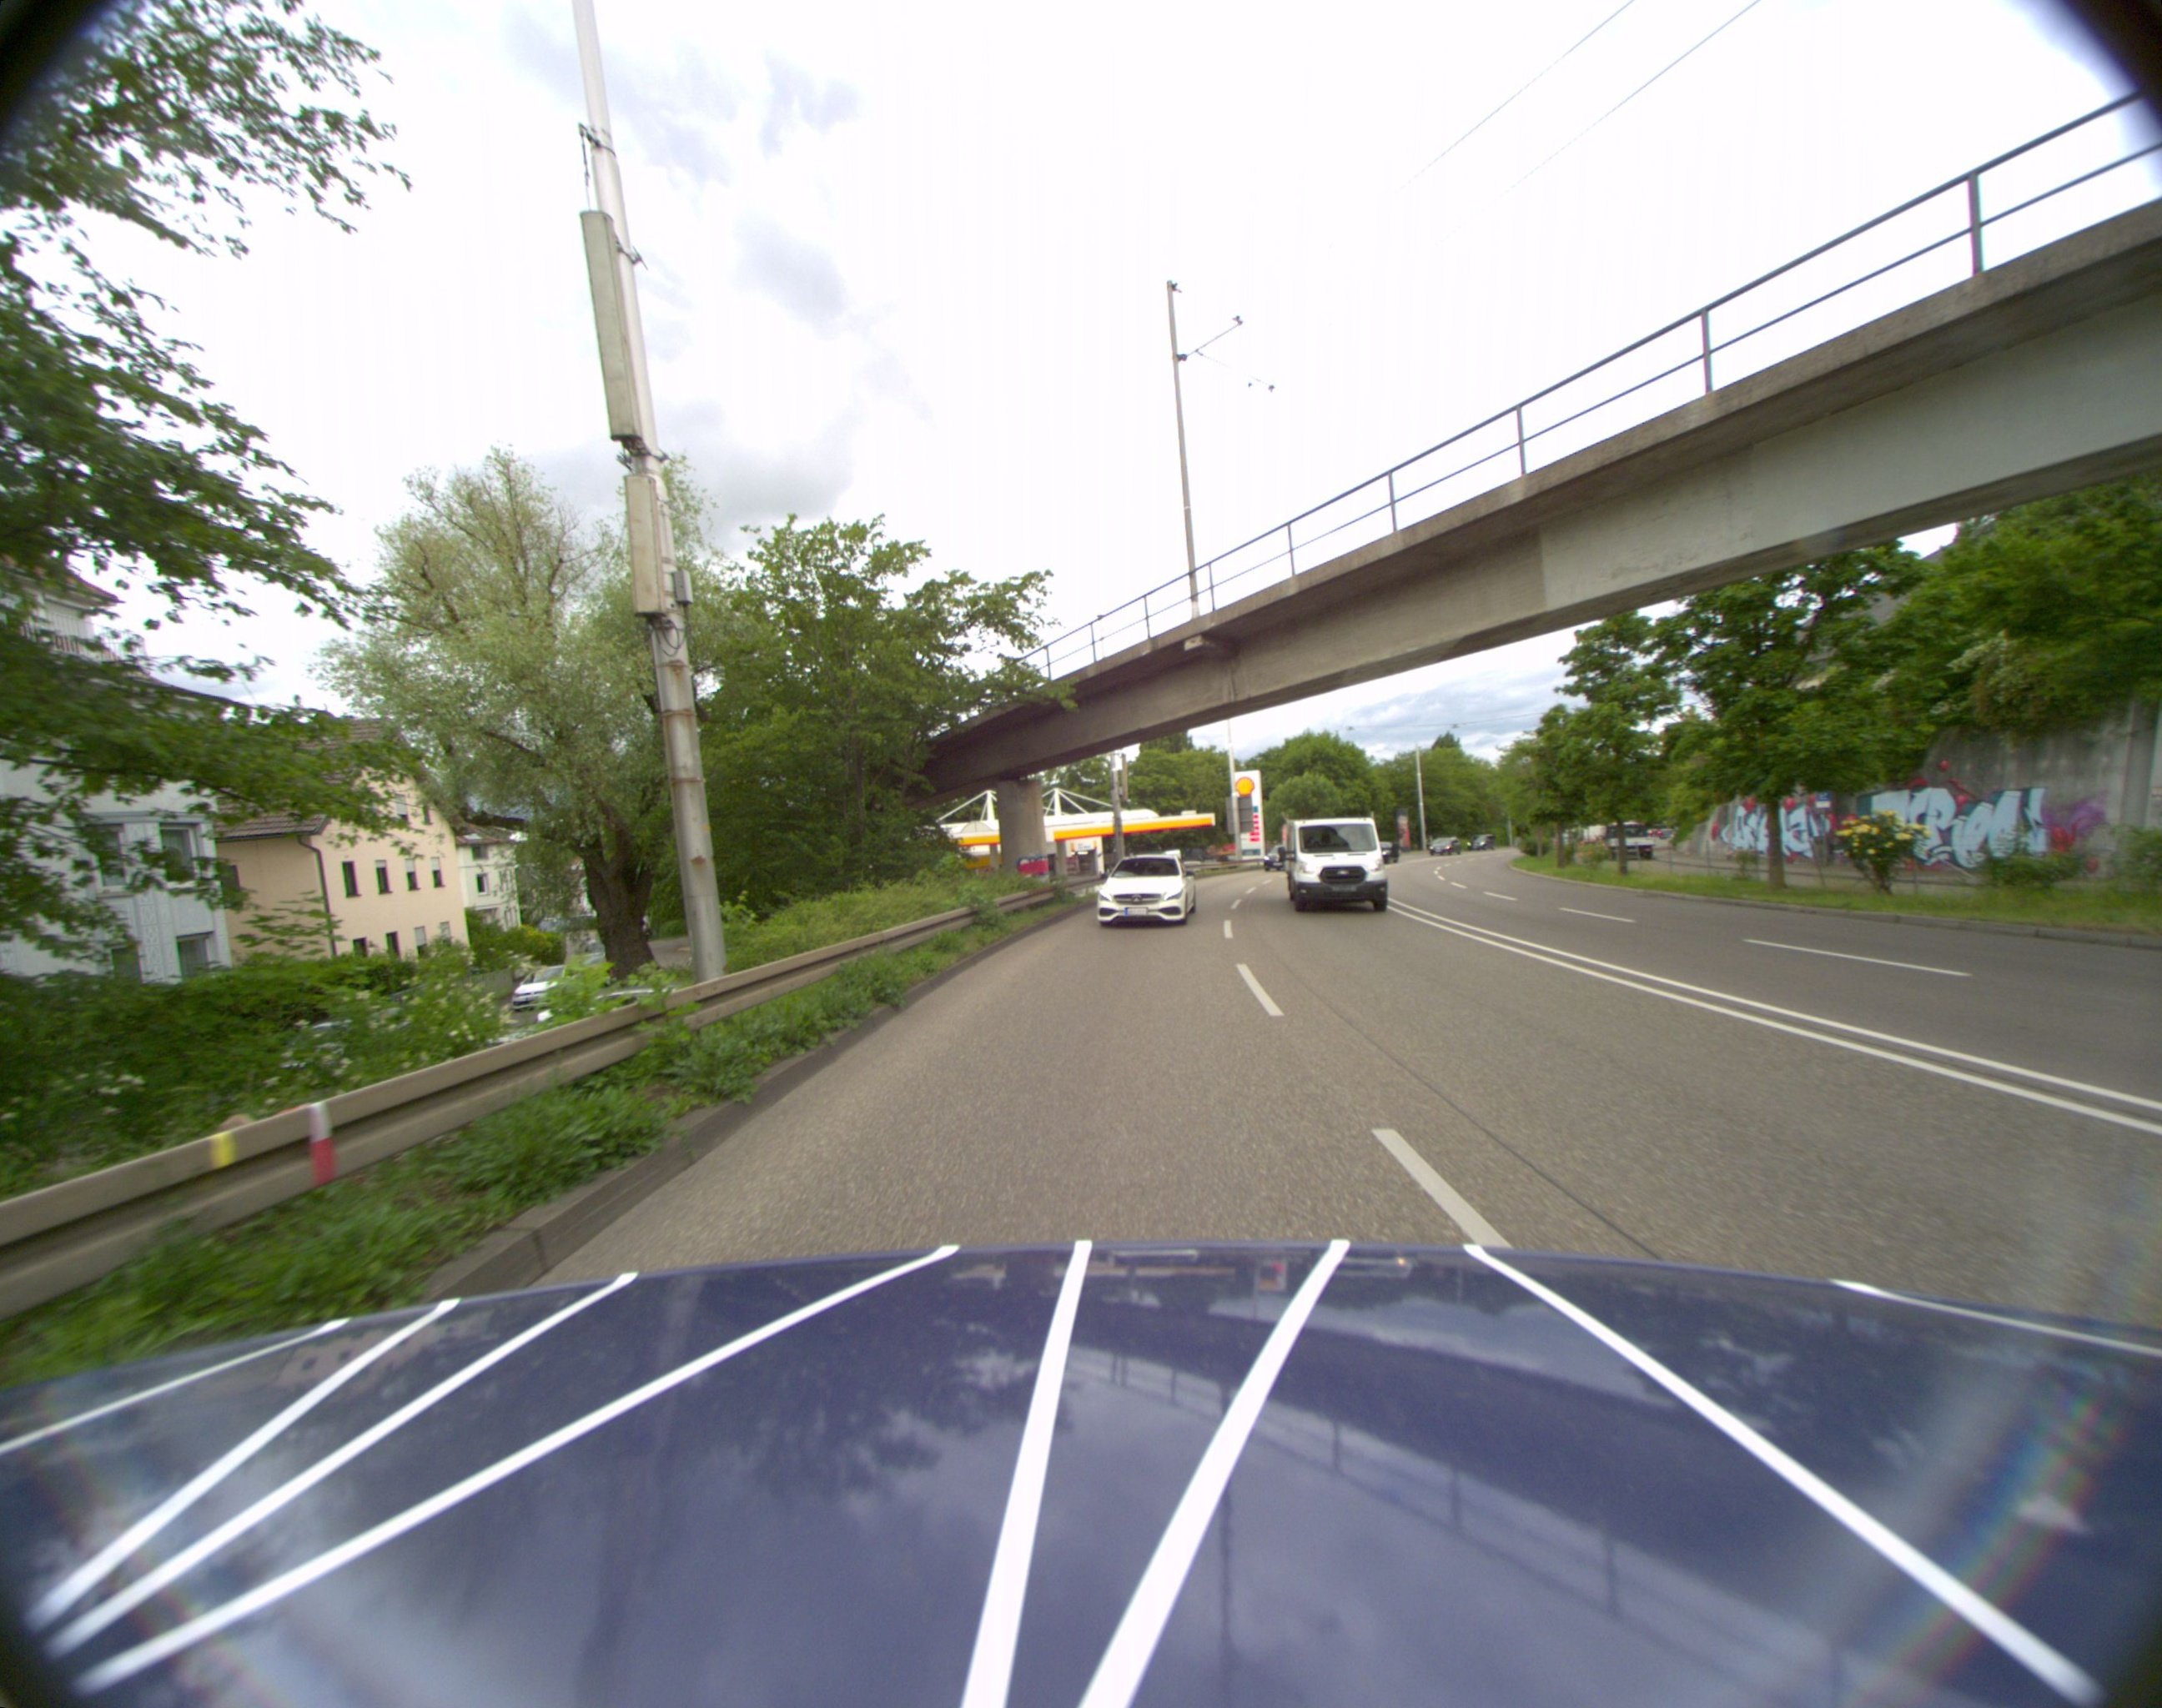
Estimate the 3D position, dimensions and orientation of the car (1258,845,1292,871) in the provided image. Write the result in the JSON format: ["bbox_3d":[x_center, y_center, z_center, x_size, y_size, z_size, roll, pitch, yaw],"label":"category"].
[{"bbox_3d":[11.311,0.218,44.392,1.732,1.403,4.003,-3,0,12],"label":"car"}]

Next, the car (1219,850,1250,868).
[{"bbox_3d":[15.391,0.491,76.279,1.734,1.419,4.288,-6,4,-7],"label":"car"}]

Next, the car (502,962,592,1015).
[{"bbox_3d":[-21.147,5.285,30.244,1.651,1.386,3.766,-6,0,-16],"label":"car"}]

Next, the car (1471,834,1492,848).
[{"bbox_3d":[46.982,-1.541,89.129,1.726,1.469,4.007,-3,0,34],"label":"car"}]

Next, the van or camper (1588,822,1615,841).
[{"bbox_3d":[63.093,-2.705,92.057,2.009,2.248,5.973,-1,1,42],"label":"van or camper"}]

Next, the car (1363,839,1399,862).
[{"bbox_3d":[20.563,-0.237,51.970,1.733,1.403,4.007,-3,0,29],"label":"car"}]

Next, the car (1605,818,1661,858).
[{"bbox_3d":[34.193,-1.005,47.248,2.269,2.260,6.338,-1,1,31],"label":"car"}]

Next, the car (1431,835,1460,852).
[{"bbox_3d":[33.922,-0.977,70.591,1.726,1.469,4.007,-3,0,35],"label":"car"}]

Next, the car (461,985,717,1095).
[{"bbox_3d":[-9.897,3.742,15.486,4.054,1.439,1.624,-6,0,2],"label":"car"}]

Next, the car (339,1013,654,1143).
[{"bbox_3d":[-9.865,3.775,13.021,4.054,1.361,1.624,-6,0,2],"label":"car"}]

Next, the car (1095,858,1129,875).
[{"bbox_3d":[3.045,1.207,74.779,1.725,1.428,4.096,-4,4,-23],"label":"car"}]

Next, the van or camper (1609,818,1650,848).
[{"bbox_3d":[47.498,-1.876,65.743,1.994,2.459,5.721,0,2,44],"label":"van or camper"}]

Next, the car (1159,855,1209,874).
[{"bbox_3d":[9.609,0.982,71.187,4.294,1.424,1.599,-4,4,-13],"label":"car"}]

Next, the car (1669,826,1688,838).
[{"bbox_3d":[76.378,-2.826,97.120,1.673,1.420,4.426,2,3,41],"label":"car"}]

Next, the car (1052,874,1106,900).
[{"bbox_3d":[-0.122,2.475,57.820,1.736,1.478,3.883,-1,4,44],"label":"car"}]

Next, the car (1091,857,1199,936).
[{"bbox_3d":[1.513,0.823,16.486,1.819,1.339,4.002,-1,2,12],"label":"car"}]

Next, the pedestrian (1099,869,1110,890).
[{"bbox_3d":[1.955,2.108,63.067,0.542,1.694,0.611,-2,1,38],"label":"pedestrian"}]

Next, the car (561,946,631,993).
[{"bbox_3d":[-22.761,5.373,35.808,1.625,1.512,4.298,-6,0,-18],"label":"car"}]

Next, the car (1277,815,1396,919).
[{"bbox_3d":[6.210,0.257,19.230,1.997,2.161,6.273,-2,0,11],"label":"car"}]

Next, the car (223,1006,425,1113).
[{"bbox_3d":[-18.310,4.904,18.665,1.625,1.439,4.025,-6,0,-16],"label":"car"}]

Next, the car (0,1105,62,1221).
[{"bbox_3d":[-16.144,4.618,9.593,1.625,1.439,4.053,-6,0,-14],"label":"car"}]
